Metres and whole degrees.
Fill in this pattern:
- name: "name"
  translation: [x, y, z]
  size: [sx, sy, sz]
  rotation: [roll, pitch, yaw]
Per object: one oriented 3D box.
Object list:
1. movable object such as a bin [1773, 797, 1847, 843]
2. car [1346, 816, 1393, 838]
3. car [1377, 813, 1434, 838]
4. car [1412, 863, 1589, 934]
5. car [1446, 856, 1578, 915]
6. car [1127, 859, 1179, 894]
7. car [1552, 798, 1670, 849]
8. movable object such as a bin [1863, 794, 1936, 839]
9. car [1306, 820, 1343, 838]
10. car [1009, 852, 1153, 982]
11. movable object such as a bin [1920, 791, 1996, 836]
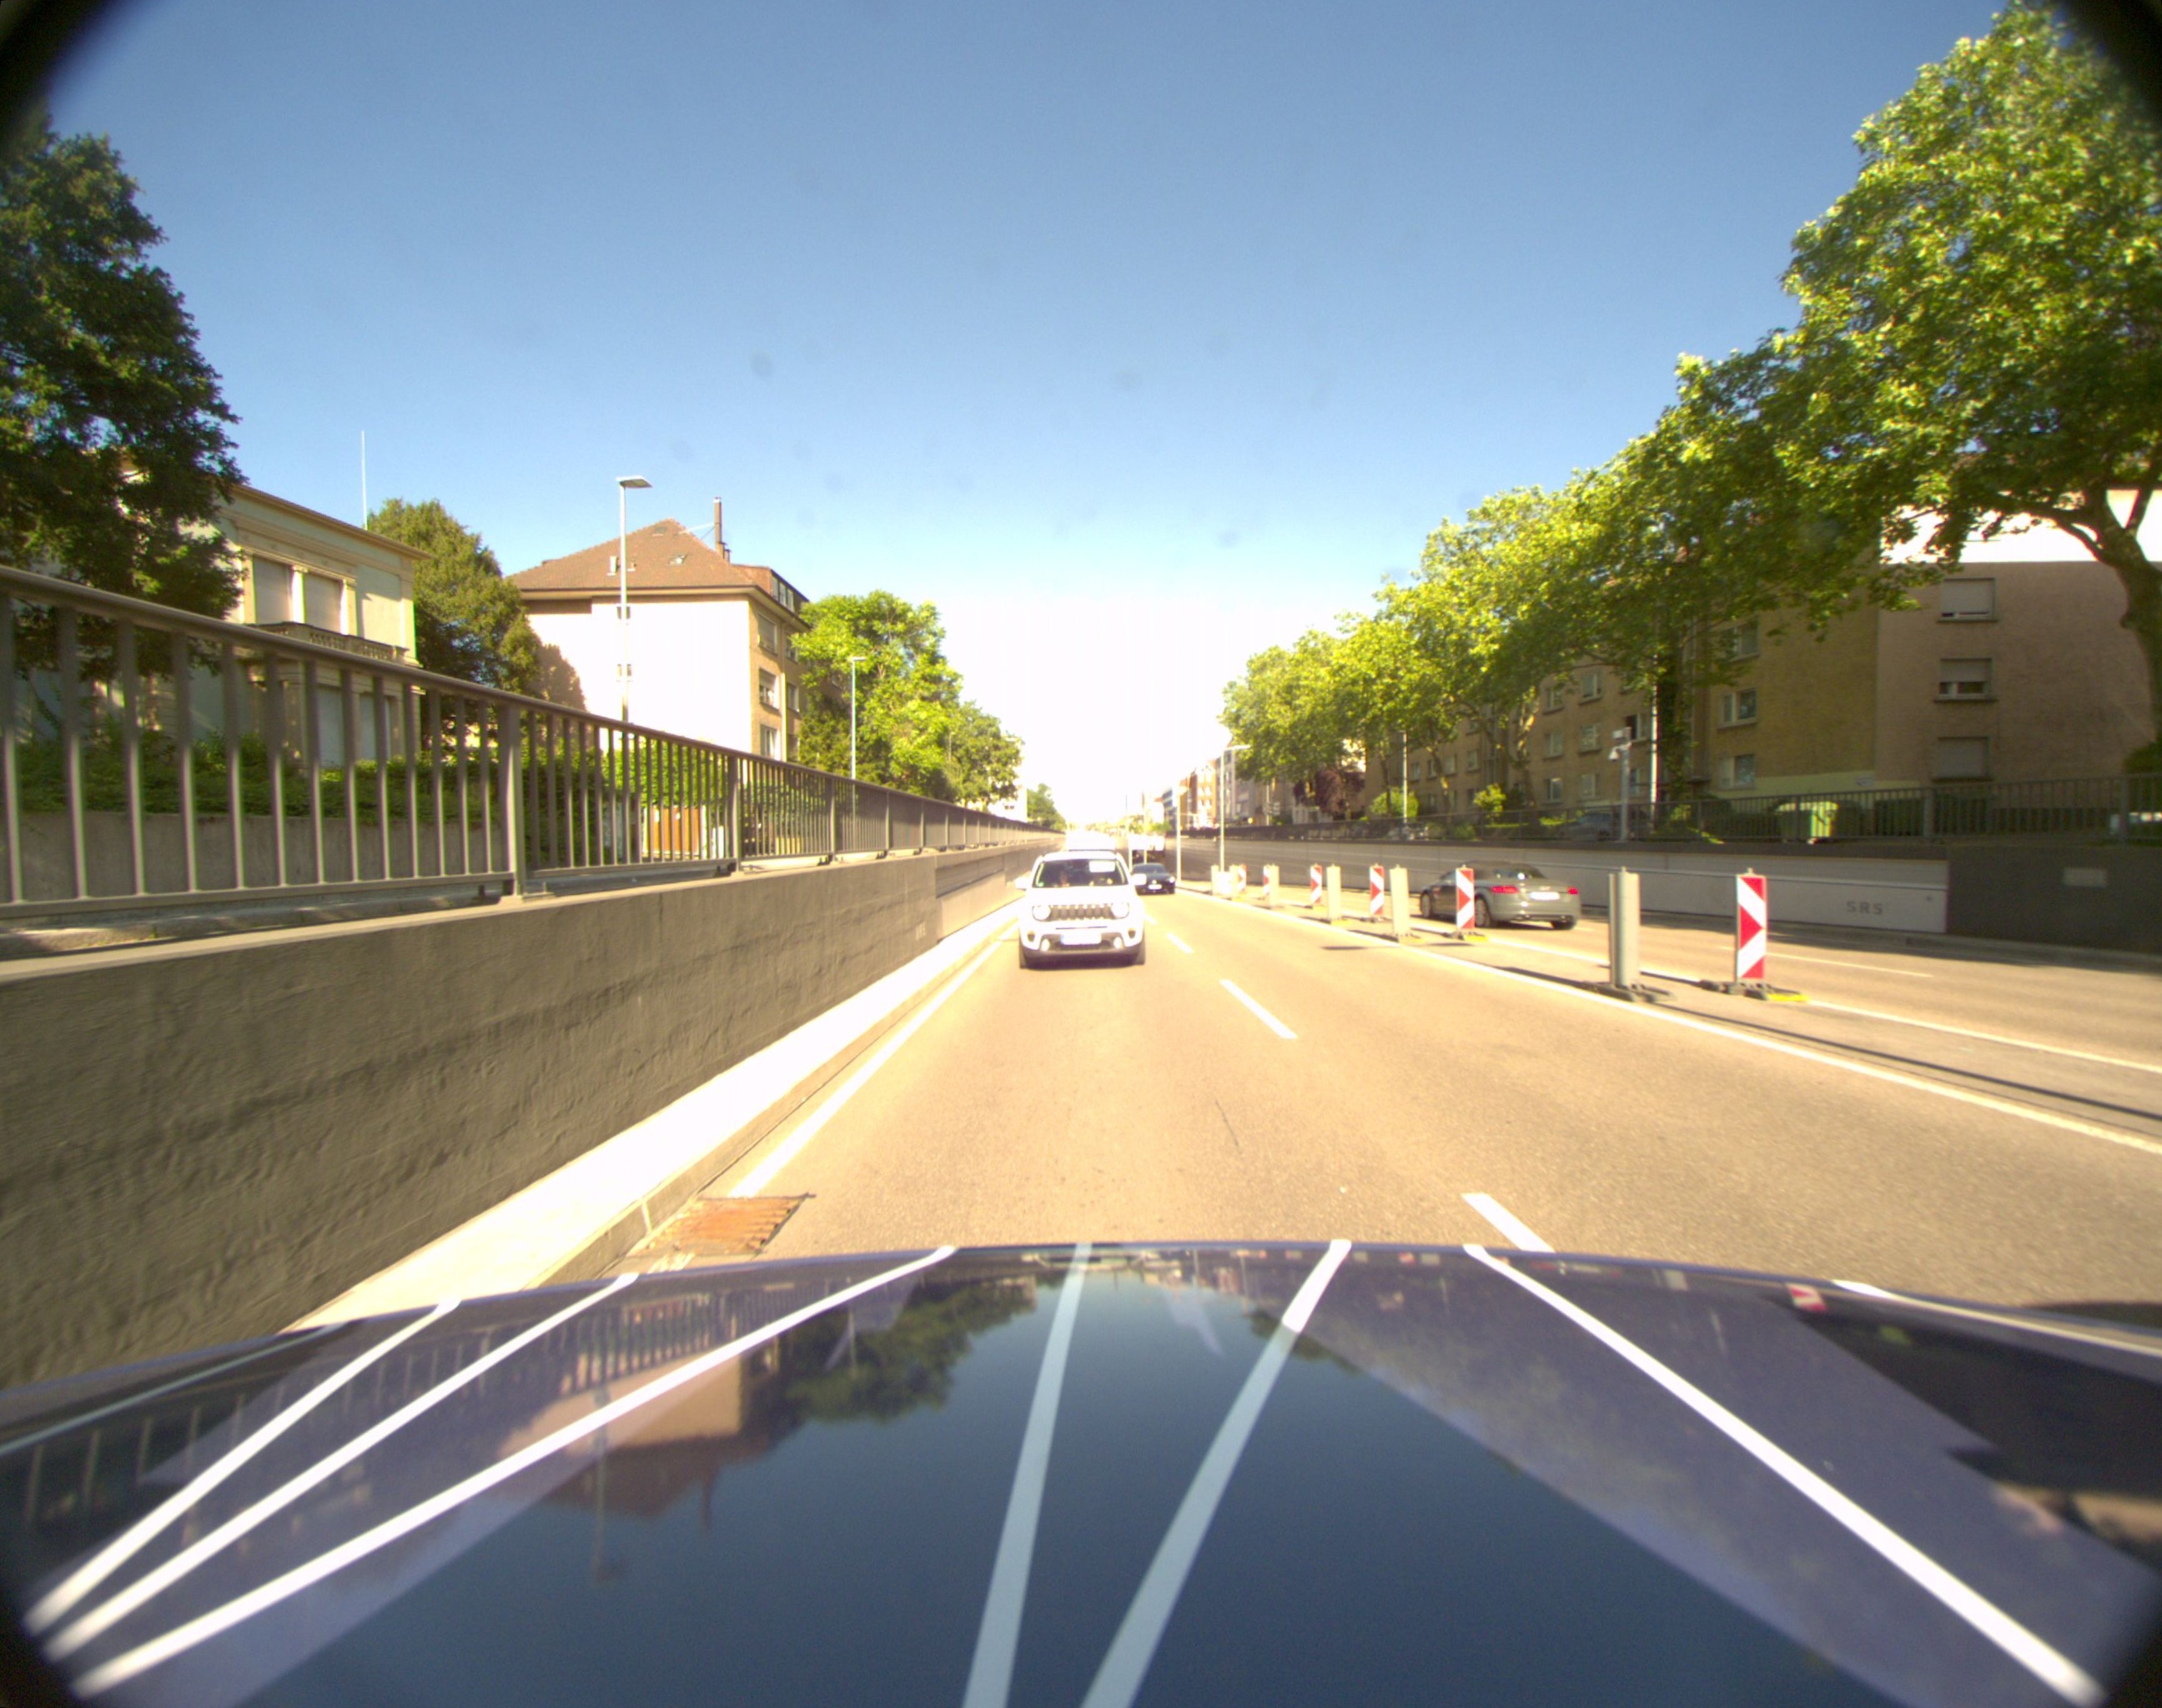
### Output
- name: "movable object such as a bin"
  translation: [24.912, -1.143, 25.996]
  size: [1.209, 1.476, 1.357]
  rotation: [-3, 1, -8]
- name: "car"
  translation: [22.916, -2.132, 60.576]
  size: [1.926, 1.575, 4.302]
  rotation: [-2, 1, -2]
- name: "car"
  translation: [22.327, -1.952, 52.430]
  size: [1.926, 1.575, 4.302]
  rotation: [-2, 1, -2]
- name: "car"
  translation: [8.705, 0.853, 16.161]
  size: [1.543, 1.292, 3.928]
  rotation: [1, 0, 0]
- name: "car"
  translation: [12.015, 0.824, 21.451]
  size: [1.543, 1.456, 3.717]
  rotation: [1, 0, 0]
- name: "car"
  translation: [3.286, 1.009, 35.379]
  size: [1.998, 1.407, 4.000]
  rotation: [-2, 0, 0]
- name: "car"
  translation: [22.619, -1.272, 32.644]
  size: [1.970, 1.949, 4.413]
  rotation: [-2, 1, 0]
- name: "movable object such as a bin"
  translation: [28.556, -1.307, 26.527]
  size: [1.317, 1.476, 1.147]
  rotation: [-2, 1, -2]
- name: "car"
  translation: [22.437, -2.290, 70.191]
  size: [1.926, 1.575, 4.302]
  rotation: [-2, 1, -2]
- name: "car"
  translation: [0.013, 0.843, 12.114]
  size: [1.855, 1.658, 3.970]
  rotation: [-2, 0, 0]
- name: "movable object such as a bin"
  translation: [30.319, -1.390, 26.295]
  size: [1.317, 1.476, 1.147]
  rotation: [-2, 1, -2]
